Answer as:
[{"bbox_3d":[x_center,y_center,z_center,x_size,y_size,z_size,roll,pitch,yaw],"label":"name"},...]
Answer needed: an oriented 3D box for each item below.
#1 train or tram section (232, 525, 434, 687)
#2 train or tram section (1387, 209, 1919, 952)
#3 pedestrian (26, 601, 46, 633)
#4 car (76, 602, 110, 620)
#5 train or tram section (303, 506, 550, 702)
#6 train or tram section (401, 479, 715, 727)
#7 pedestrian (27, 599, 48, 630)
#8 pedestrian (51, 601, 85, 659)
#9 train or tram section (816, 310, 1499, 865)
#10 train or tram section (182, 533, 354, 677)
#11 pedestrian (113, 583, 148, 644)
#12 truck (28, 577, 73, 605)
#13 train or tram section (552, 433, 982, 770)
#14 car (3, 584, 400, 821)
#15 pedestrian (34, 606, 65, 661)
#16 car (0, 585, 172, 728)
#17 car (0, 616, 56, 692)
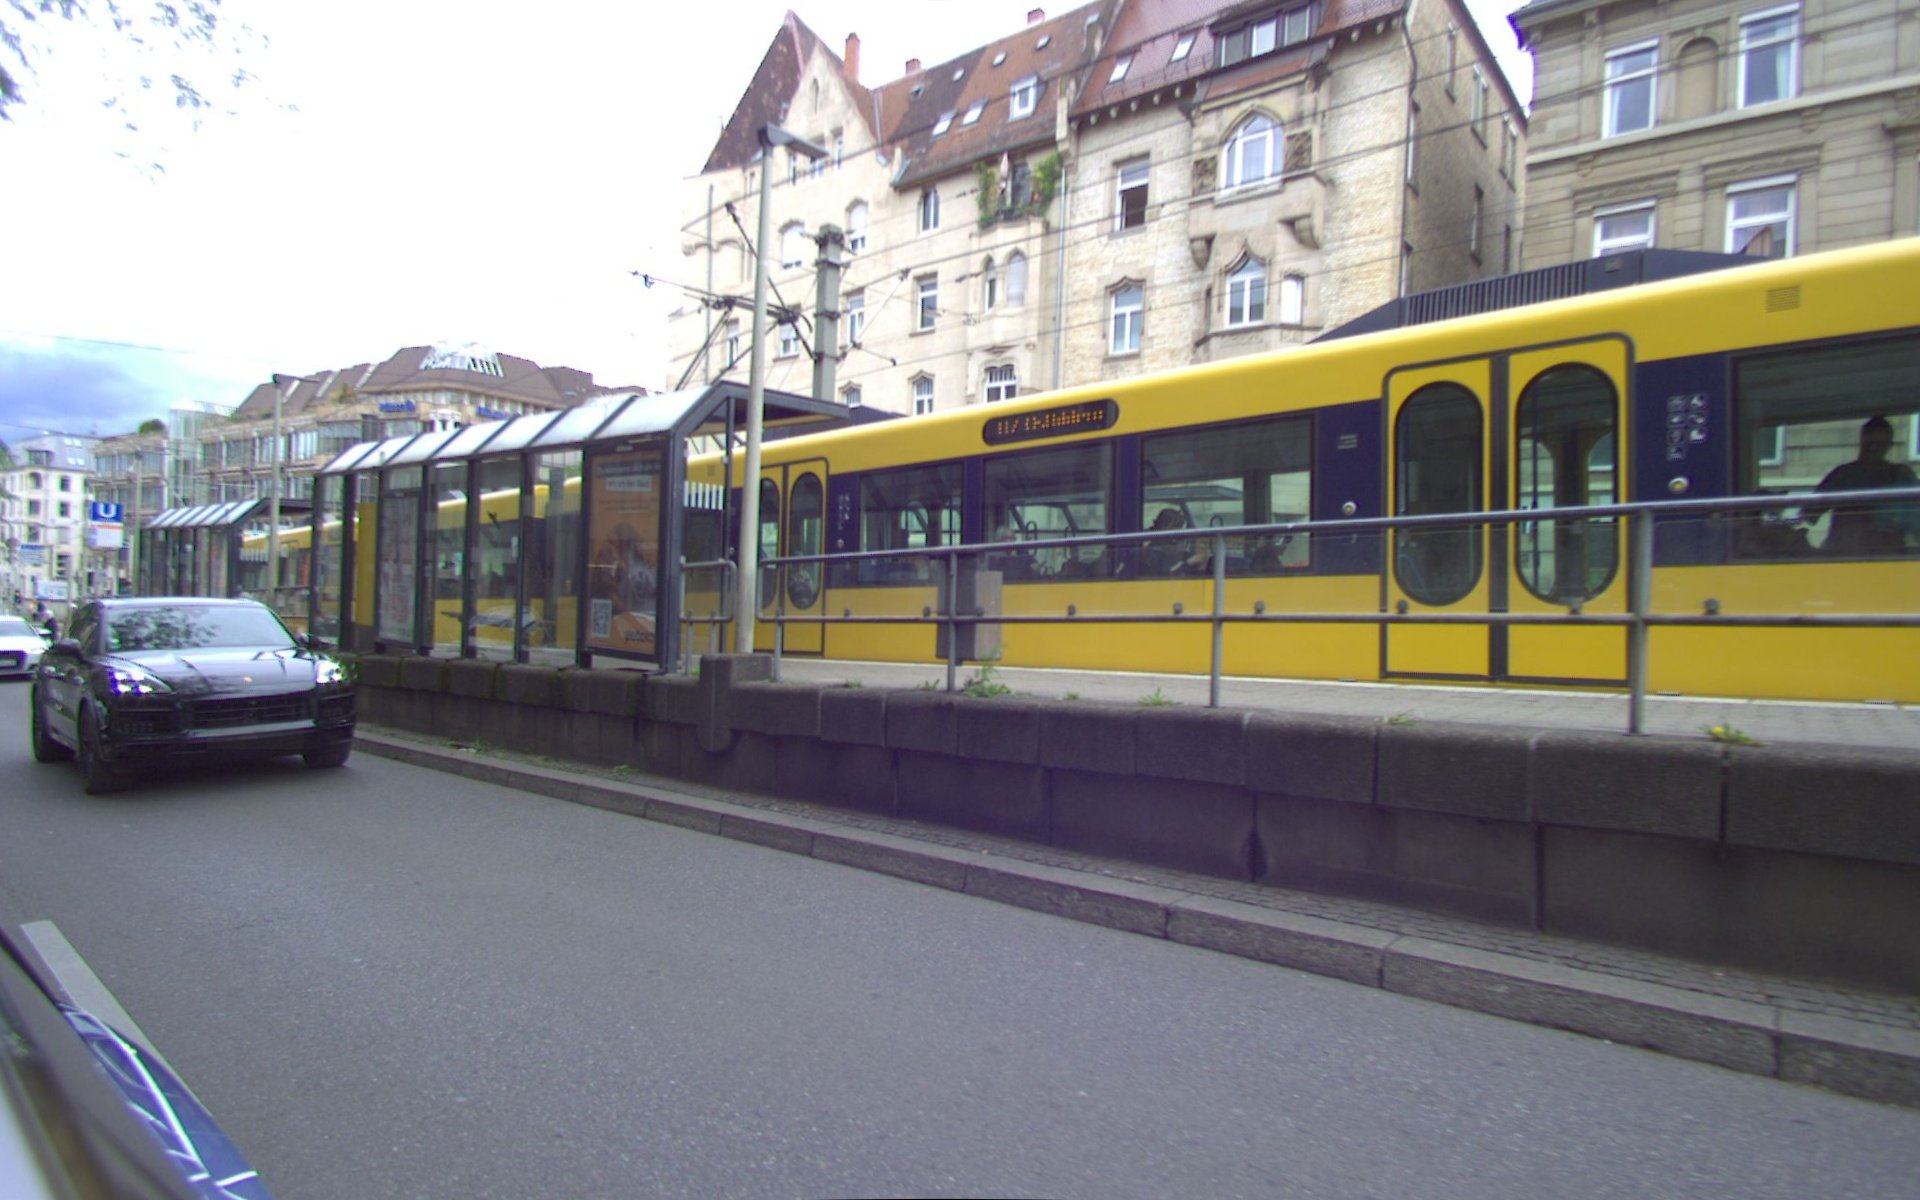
[{"bbox_3d":[-15.682,0.132,25.168,5.751,3.547,2.805,0,0,42],"label":"train or tram section"},{"bbox_3d":[6.290,-0.110,5.540,6.750,3.694,2.783,0,0,42],"label":"train or tram section"},{"bbox_3d":[-52.130,0.952,57.077,0.637,1.734,0.756,0,0,41],"label":"pedestrian"},{"bbox_3d":[-92.514,1.152,107.954,4.771,1.772,1.659,1,1,35],"label":"car"},{"bbox_3d":[-11.368,0.070,21.360,5.751,3.547,2.805,0,0,42],"label":"train or tram section"},{"bbox_3d":[-7.083,0.037,17.480,5.751,3.547,2.805,0,0,42],"label":"train or tram section"},{"bbox_3d":[-51.645,0.804,56.644,0.772,1.734,0.783,0,0,41],"label":"pedestrian"},{"bbox_3d":[-26.907,0.899,30.527,0.711,1.724,0.678,-1,-1,41],"label":"pedestrian"},{"bbox_3d":[1.586,-0.086,9.776,5.901,3.694,2.783,0,0,42],"label":"train or tram section"},{"bbox_3d":[-19.944,0.128,29.052,5.751,3.706,2.805,0,0,42],"label":"train or tram section"},{"bbox_3d":[-24.165,0.392,29.479,0.671,1.743,0.710,1,1,43],"label":"pedestrian"},{"bbox_3d":[-105.767,-1.051,117.632,7.358,3.099,2.247,1,-2,35],"label":"truck"},{"bbox_3d":[-2.789,0.014,13.642,5.751,3.547,2.805,0,0,42],"label":"train or tram section"},{"bbox_3d":[-7.508,0.783,9.759,5.350,1.688,2.061,-1,-1,42],"label":"car"},{"bbox_3d":[-28.925,1.042,32.153,0.871,1.724,0.628,-1,-1,42],"label":"pedestrian"},{"bbox_3d":[-15.109,0.783,16.903,5.149,2.029,2.338,1,1,44],"label":"car"},{"bbox_3d":[-22.253,1.190,23.002,3.995,1.541,1.926,1,1,39],"label":"car"}]
